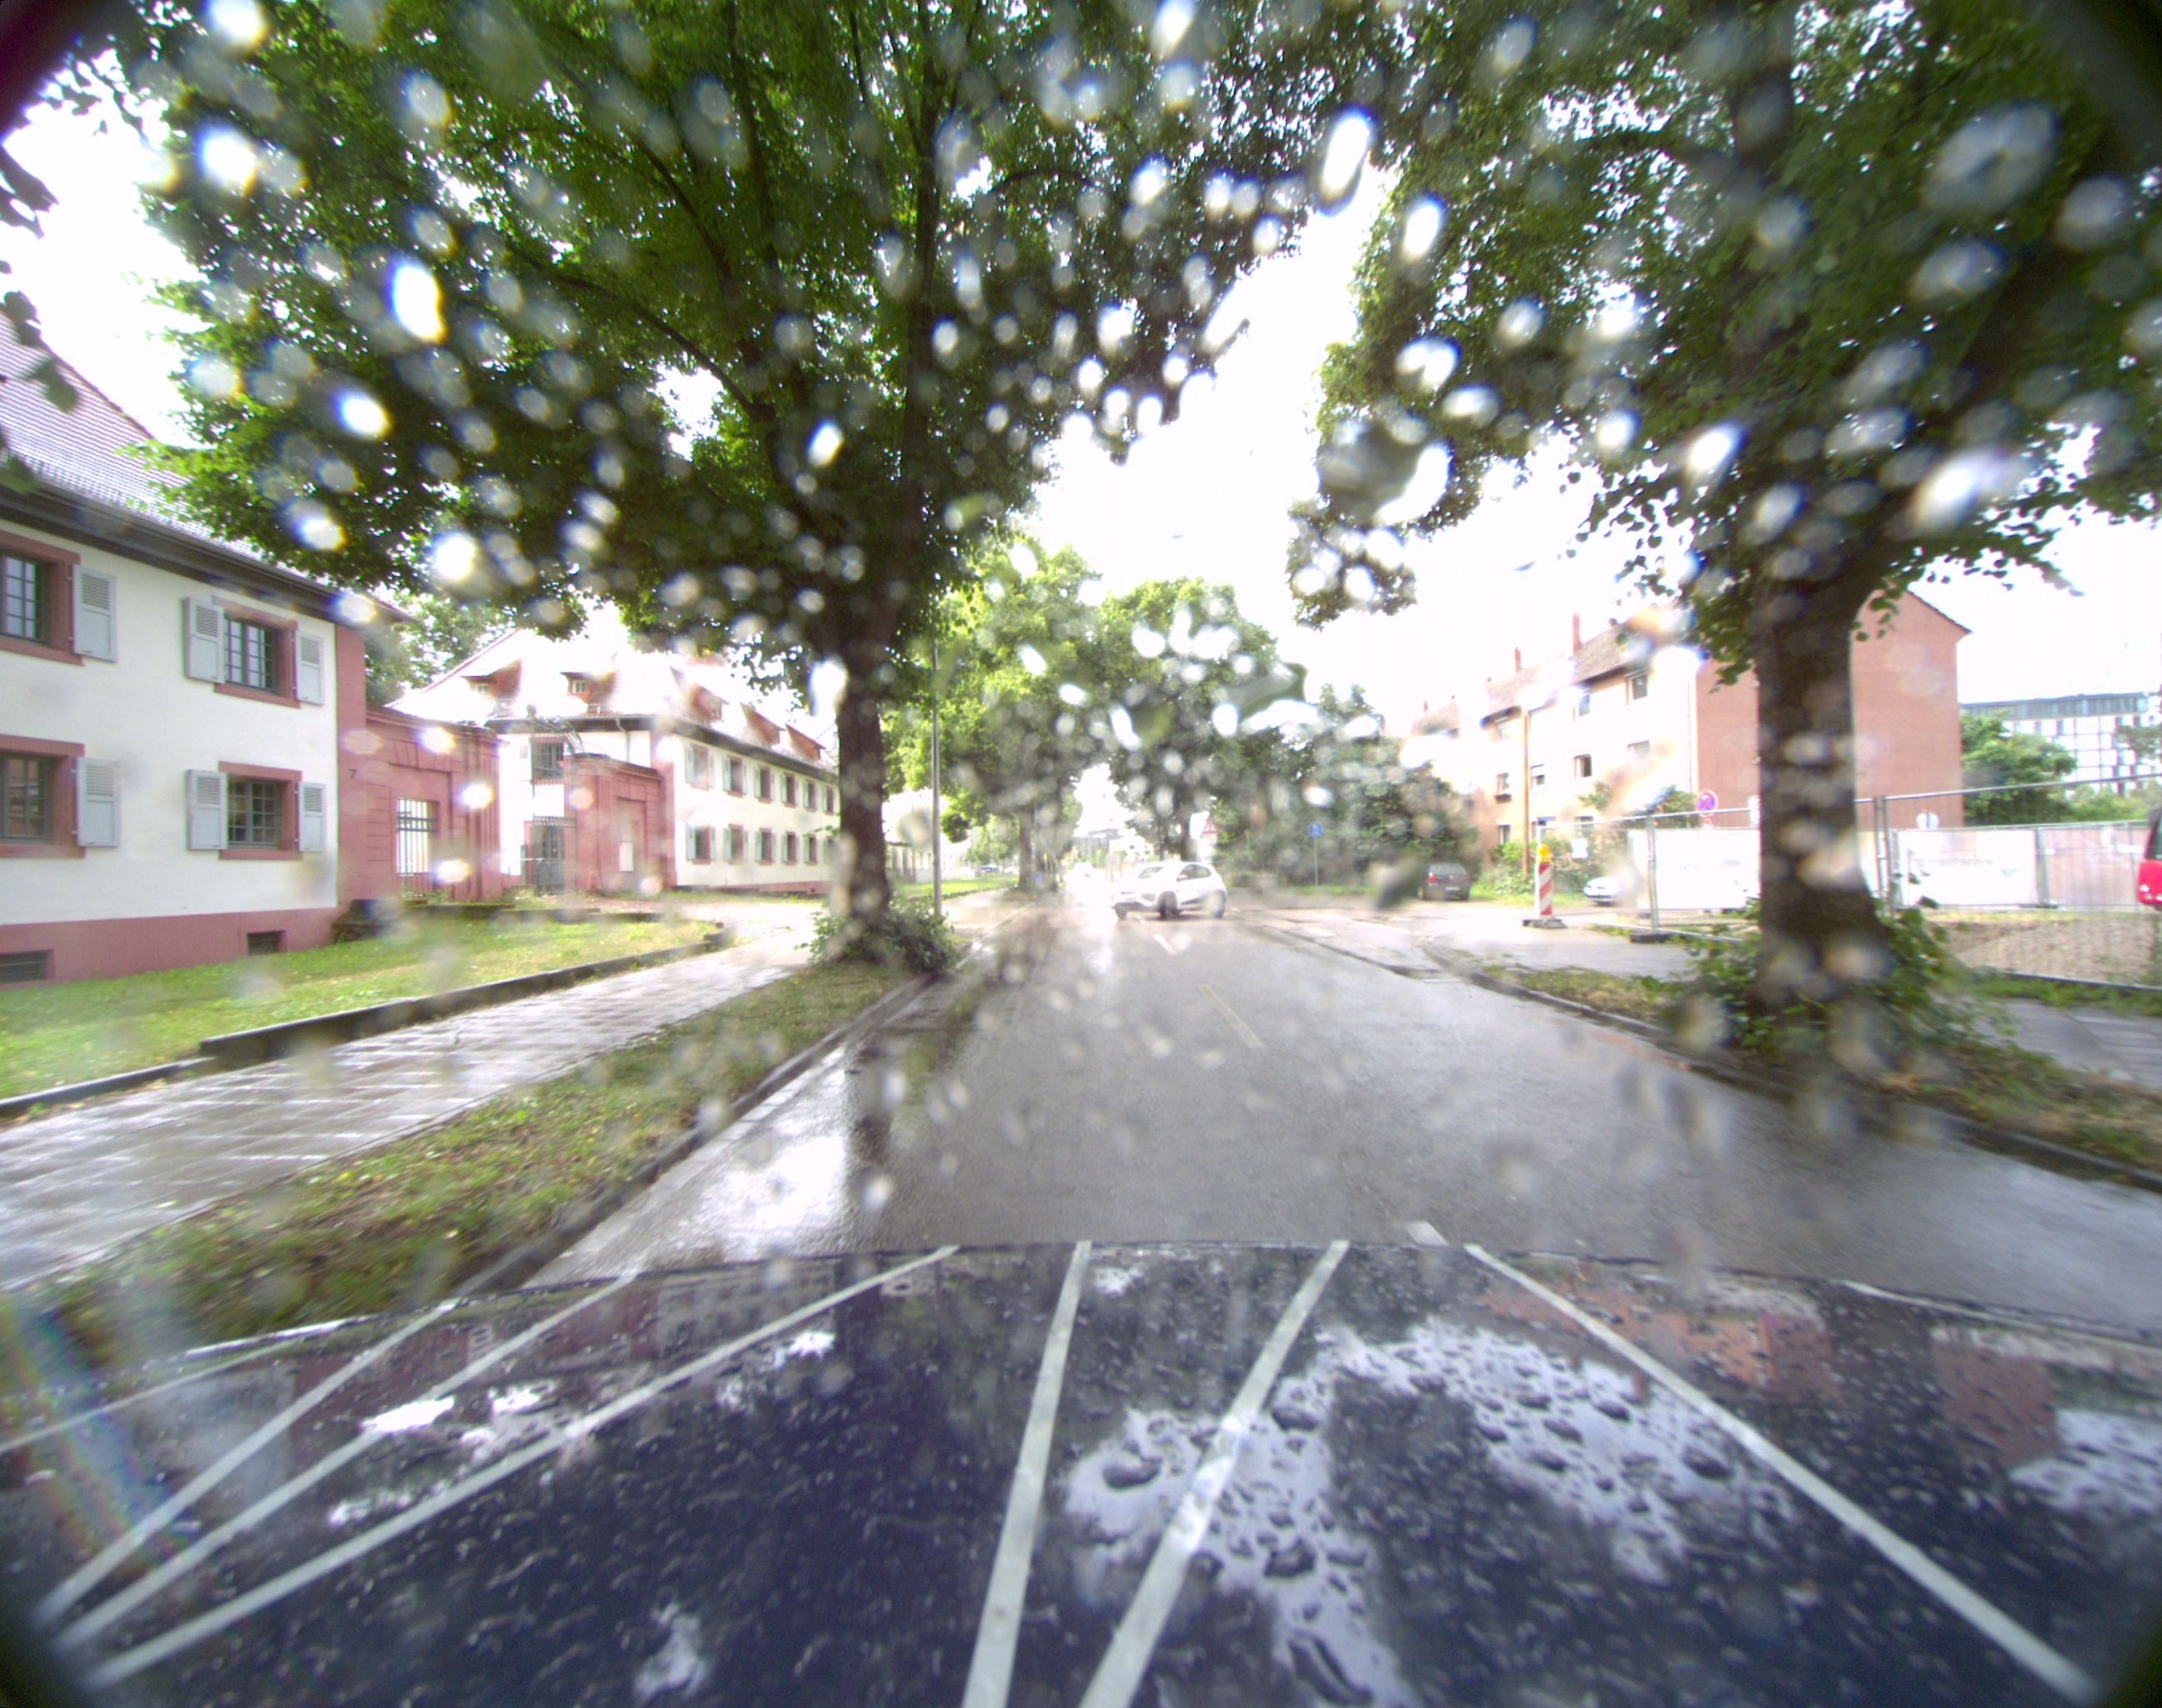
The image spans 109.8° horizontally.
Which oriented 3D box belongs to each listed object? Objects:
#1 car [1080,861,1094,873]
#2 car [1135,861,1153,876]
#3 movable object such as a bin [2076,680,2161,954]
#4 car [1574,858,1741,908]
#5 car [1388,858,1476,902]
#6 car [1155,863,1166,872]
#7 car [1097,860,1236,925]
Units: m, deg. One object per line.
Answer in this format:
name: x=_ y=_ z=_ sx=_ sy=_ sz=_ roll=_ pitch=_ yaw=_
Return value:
car: x=0.924 y=1.884 z=111.938 sx=1.891 sy=1.703 sz=4.230 roll=-1 pitch=-1 yaw=1
car: x=7.426 y=1.727 z=90.052 sx=1.891 sy=1.703 sz=4.230 roll=-1 pitch=-1 yaw=1
movable object such as a bin: x=21.018 y=-0.705 z=10.383 sx=9.834 sy=4.090 sz=3.367 roll=-2 pitch=-1 yaw=3
car: x=18.492 y=0.906 z=24.499 sx=4.064 sy=1.464 sz=1.728 roll=-1 pitch=0 yaw=-1
car: x=13.332 y=0.934 z=29.076 sx=1.628 sy=1.412 sz=3.870 roll=-2 pitch=1 yaw=2
car: x=13.562 y=2.354 z=129.546 sx=1.683 sy=1.499 sz=3.795 roll=-1 pitch=-1 yaw=4
car: x=2.335 y=0.960 z=20.213 sx=3.624 sy=1.524 sz=1.733 roll=-1 pitch=0 yaw=-44
